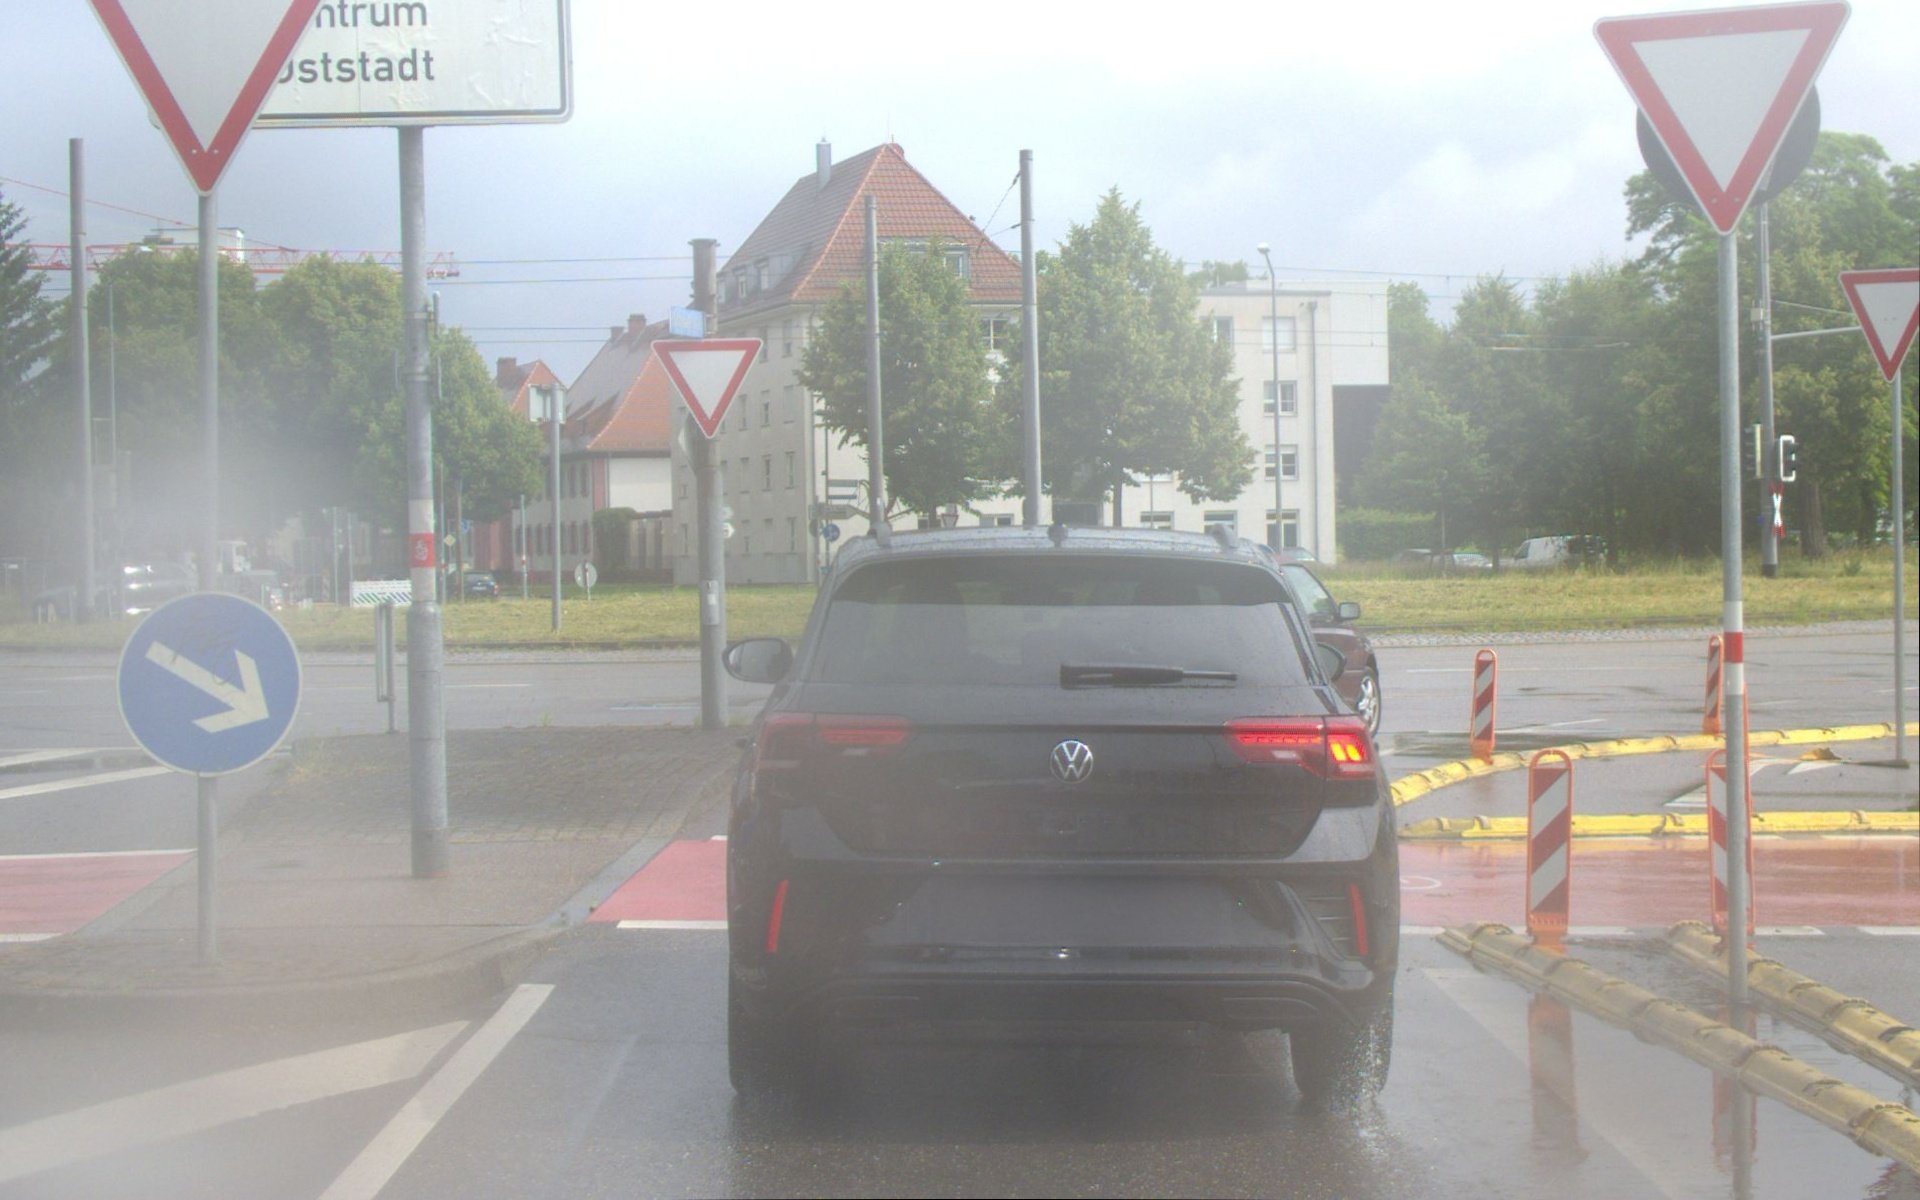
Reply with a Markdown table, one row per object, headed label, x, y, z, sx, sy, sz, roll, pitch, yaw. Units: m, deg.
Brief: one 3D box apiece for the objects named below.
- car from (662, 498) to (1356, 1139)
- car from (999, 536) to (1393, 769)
| label | x | y | z | sx | sy | sz | roll | pitch | yaw |
| --- | --- | --- | --- | --- | --- | --- | --- | --- | --- |
| car | 0.039 | 0.514 | 10.293 | 1.708 | 1.568 | 3.683 | 0 | 1 | -3 |
| car | 1.758 | 0.314 | 24.488 | 1.737 | 1.509 | 3.600 | 0 | 1 | 23 |
